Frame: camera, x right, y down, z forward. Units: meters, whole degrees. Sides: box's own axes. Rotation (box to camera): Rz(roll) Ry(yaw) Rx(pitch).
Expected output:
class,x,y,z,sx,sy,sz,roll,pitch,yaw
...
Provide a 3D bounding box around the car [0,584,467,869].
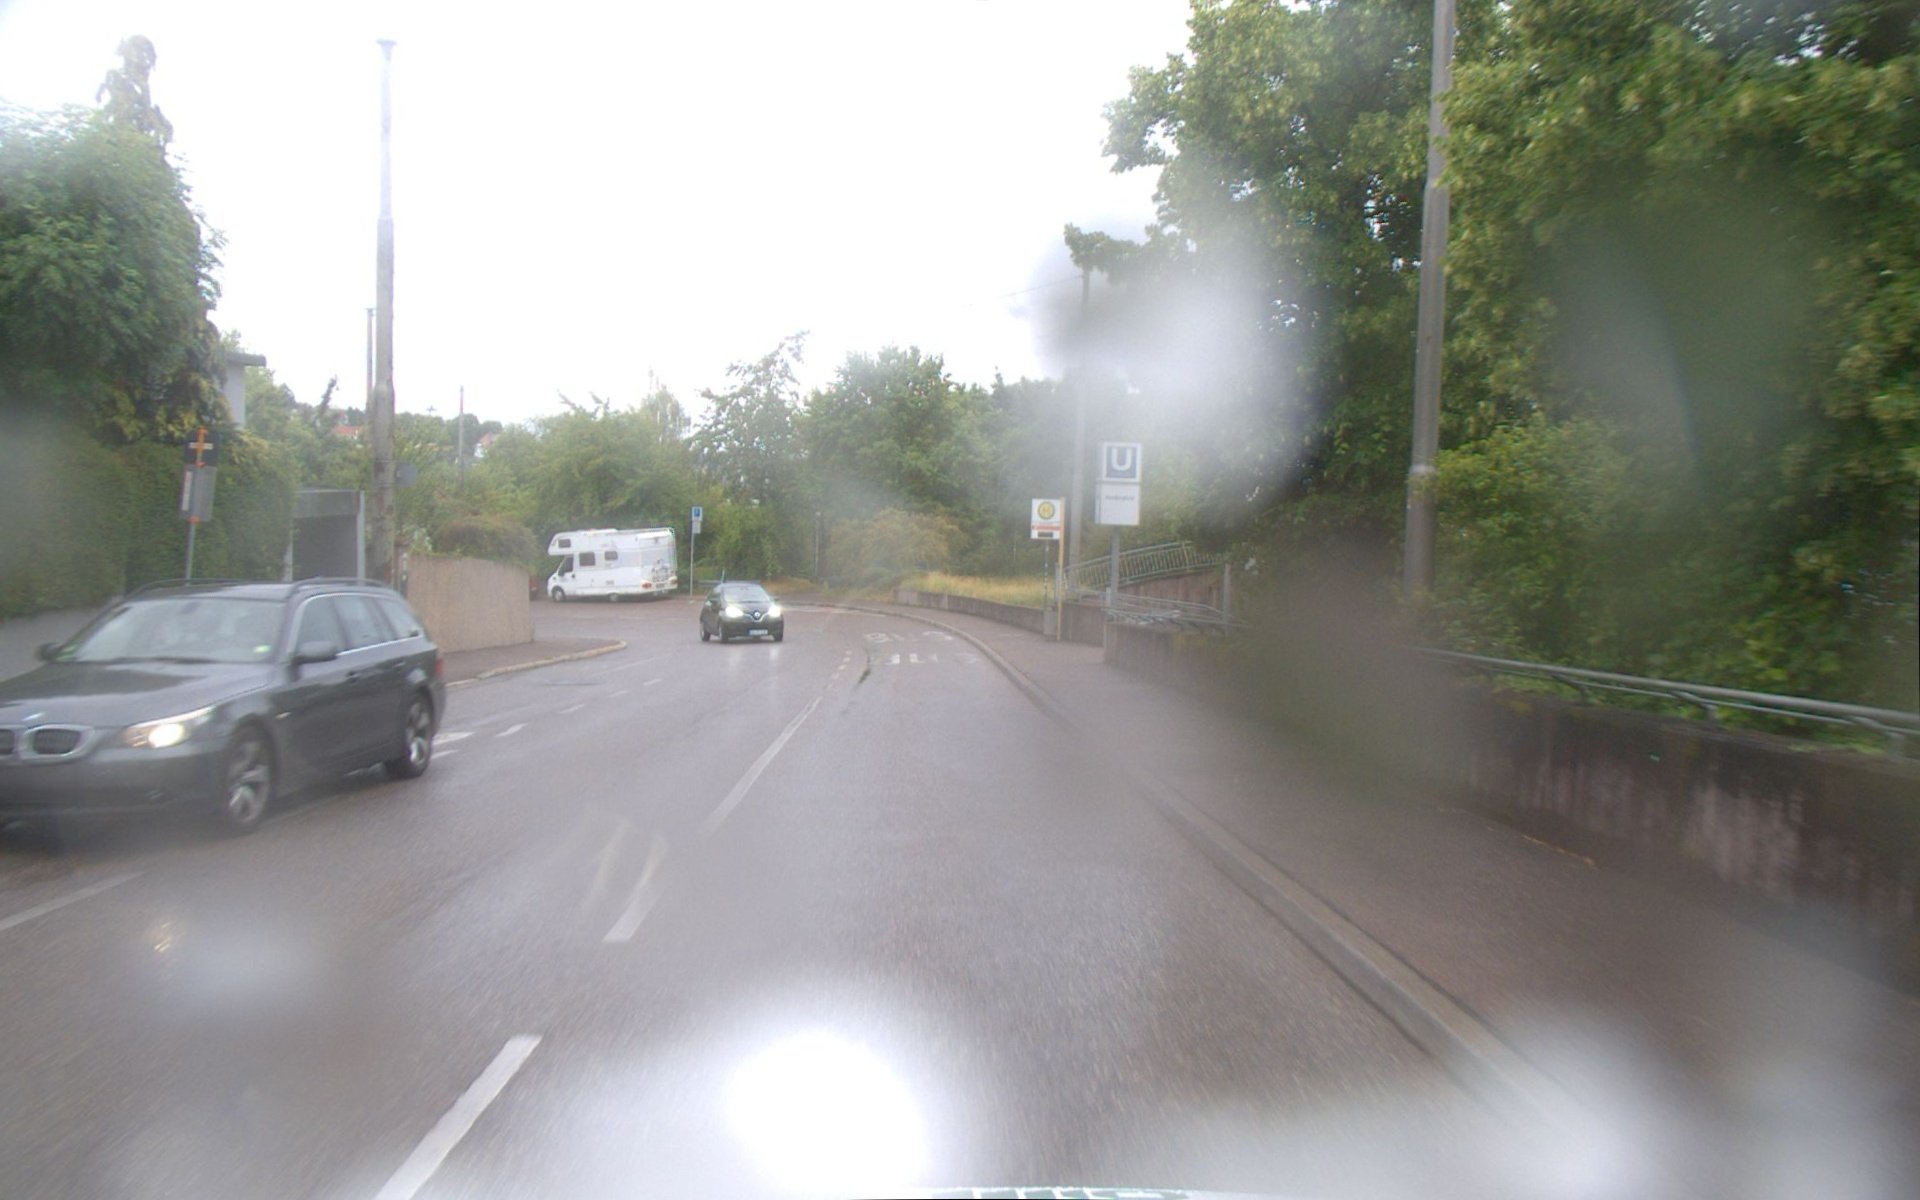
class,x,y,z,sx,sy,sz,roll,pitch,yaw
car,-4.922,0.660,11.131,1.701,1.476,4.616,-1,1,1

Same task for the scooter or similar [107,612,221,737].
class,x,y,z,sx,sy,sz,roll,pitch,yaw
scooter or similar,-8.517,0.774,17.750,0.512,1.224,1.435,-2,1,-2

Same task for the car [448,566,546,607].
class,x,y,z,sx,sy,sz,roll,pitch,yaw
car,-20.503,-0.593,73.245,3.713,1.485,1.649,-2,6,10

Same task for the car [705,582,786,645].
class,x,y,z,sx,sy,sz,roll,pitch,yaw
car,-5.894,0.322,45.045,1.738,1.547,3.961,-1,2,-14

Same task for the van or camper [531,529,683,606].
class,x,y,z,sx,sy,sz,roll,pitch,yaw
van or camper,-15.195,-1.388,71.125,6.142,2.993,2.395,-1,6,30

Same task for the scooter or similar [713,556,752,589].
class,x,y,z,sx,sy,sz,roll,pitch,yaw
scooter or similar,-9.763,-1.176,70.995,1.672,1.304,0.451,-2,3,30
